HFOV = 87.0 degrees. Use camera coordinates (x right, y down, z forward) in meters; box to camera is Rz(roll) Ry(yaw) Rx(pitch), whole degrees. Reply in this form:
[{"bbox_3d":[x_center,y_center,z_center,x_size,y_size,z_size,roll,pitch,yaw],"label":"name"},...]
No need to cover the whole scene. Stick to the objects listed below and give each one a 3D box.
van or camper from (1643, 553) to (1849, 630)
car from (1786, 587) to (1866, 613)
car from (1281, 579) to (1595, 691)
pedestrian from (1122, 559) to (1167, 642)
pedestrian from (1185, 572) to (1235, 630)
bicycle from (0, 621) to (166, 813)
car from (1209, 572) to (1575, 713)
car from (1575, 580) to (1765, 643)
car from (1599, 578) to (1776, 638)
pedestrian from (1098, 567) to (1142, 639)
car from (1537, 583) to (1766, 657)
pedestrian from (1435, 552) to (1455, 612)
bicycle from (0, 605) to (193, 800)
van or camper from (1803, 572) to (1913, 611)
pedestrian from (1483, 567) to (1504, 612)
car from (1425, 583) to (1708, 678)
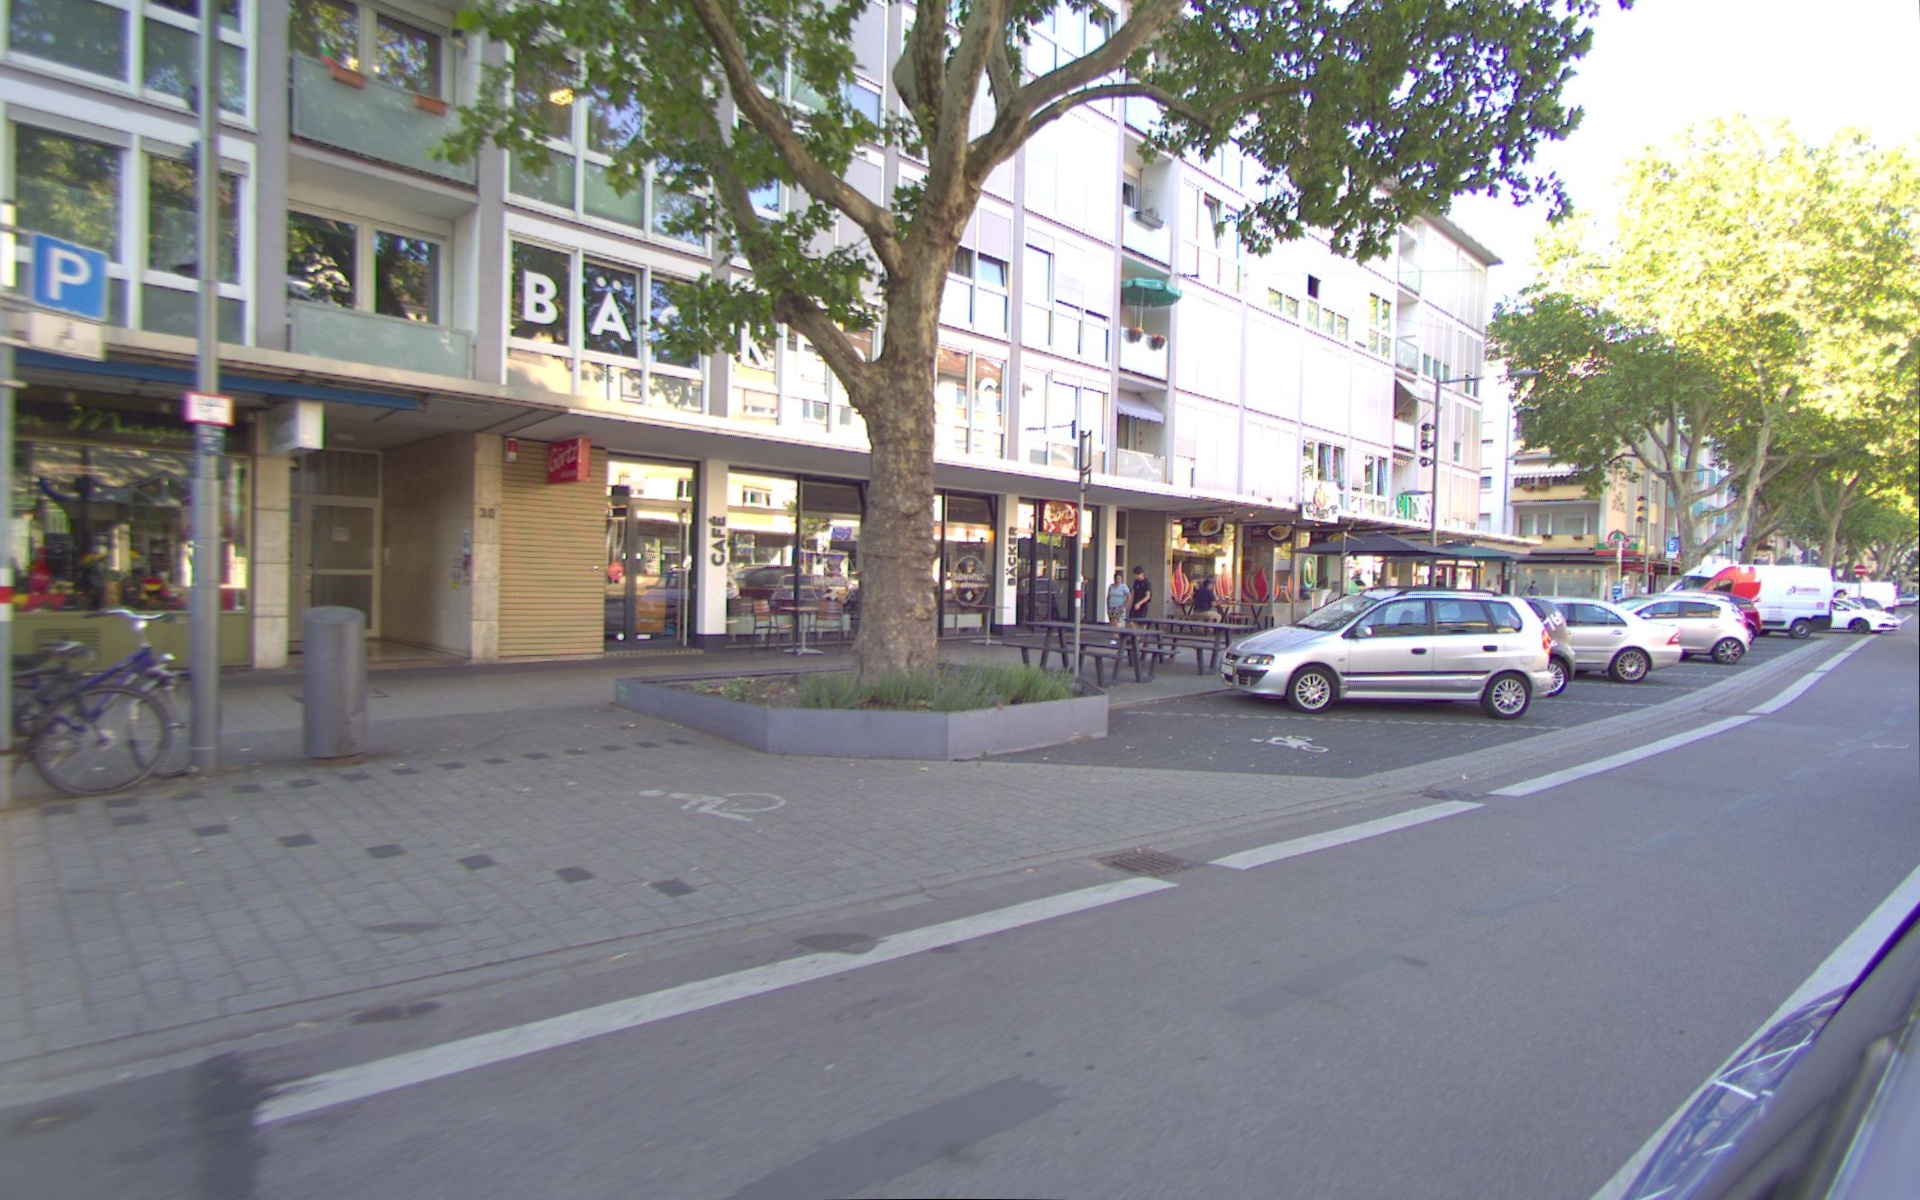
[{"bbox_3d":[27.304,-0.317,35.320,5.367,2.500,1.997,1,1,6],"label":"van or camper"},{"bbox_3d":[52.112,-0.003,60.934,3.272,1.363,1.530,2,3,5],"label":"car"},{"bbox_3d":[7.237,0.491,15.603,3.922,1.525,1.811,1,1,-2],"label":"car"},{"bbox_3d":[3.705,0.006,20.313,0.537,1.610,0.676,5,4,44],"label":"pedestrian"},{"bbox_3d":[6.106,0.020,24.697,0.945,1.379,0.750,0,1,-41],"label":"pedestrian"},{"bbox_3d":[-5.610,0.679,5.756,0.293,1.053,1.696,5,4,35],"label":"bicycle"},{"bbox_3d":[5.466,0.496,13.158,3.922,1.626,1.811,1,1,-2],"label":"car"},{"bbox_3d":[19.681,0.286,28.193,3.930,1.541,1.658,2,3,5],"label":"car"},{"bbox_3d":[21.842,0.208,30.503,3.930,1.582,1.658,2,3,5],"label":"car"},{"bbox_3d":[3.273,0.056,20.745,0.537,1.417,0.676,5,4,44],"label":"pedestrian"},{"bbox_3d":[15.641,0.423,23.063,3.930,1.454,1.658,2,3,5],"label":"car"},{"bbox_3d":[16.615,-0.606,34.654,0.548,2.039,0.571,-1,-1,31],"label":"pedestrian"},{"bbox_3d":[-5.707,0.609,6.103,0.293,1.114,1.696,5,4,35],"label":"bicycle"},{"bbox_3d":[60.318,-0.610,68.043,5.363,2.500,1.999,1,1,3],"label":"van or camper"},{"bbox_3d":[19.361,-0.396,36.745,0.535,1.610,0.679,4,3,32],"label":"pedestrian"},{"bbox_3d":[10.686,0.504,18.048,3.926,1.454,1.660,2,3,2],"label":"car"}]
